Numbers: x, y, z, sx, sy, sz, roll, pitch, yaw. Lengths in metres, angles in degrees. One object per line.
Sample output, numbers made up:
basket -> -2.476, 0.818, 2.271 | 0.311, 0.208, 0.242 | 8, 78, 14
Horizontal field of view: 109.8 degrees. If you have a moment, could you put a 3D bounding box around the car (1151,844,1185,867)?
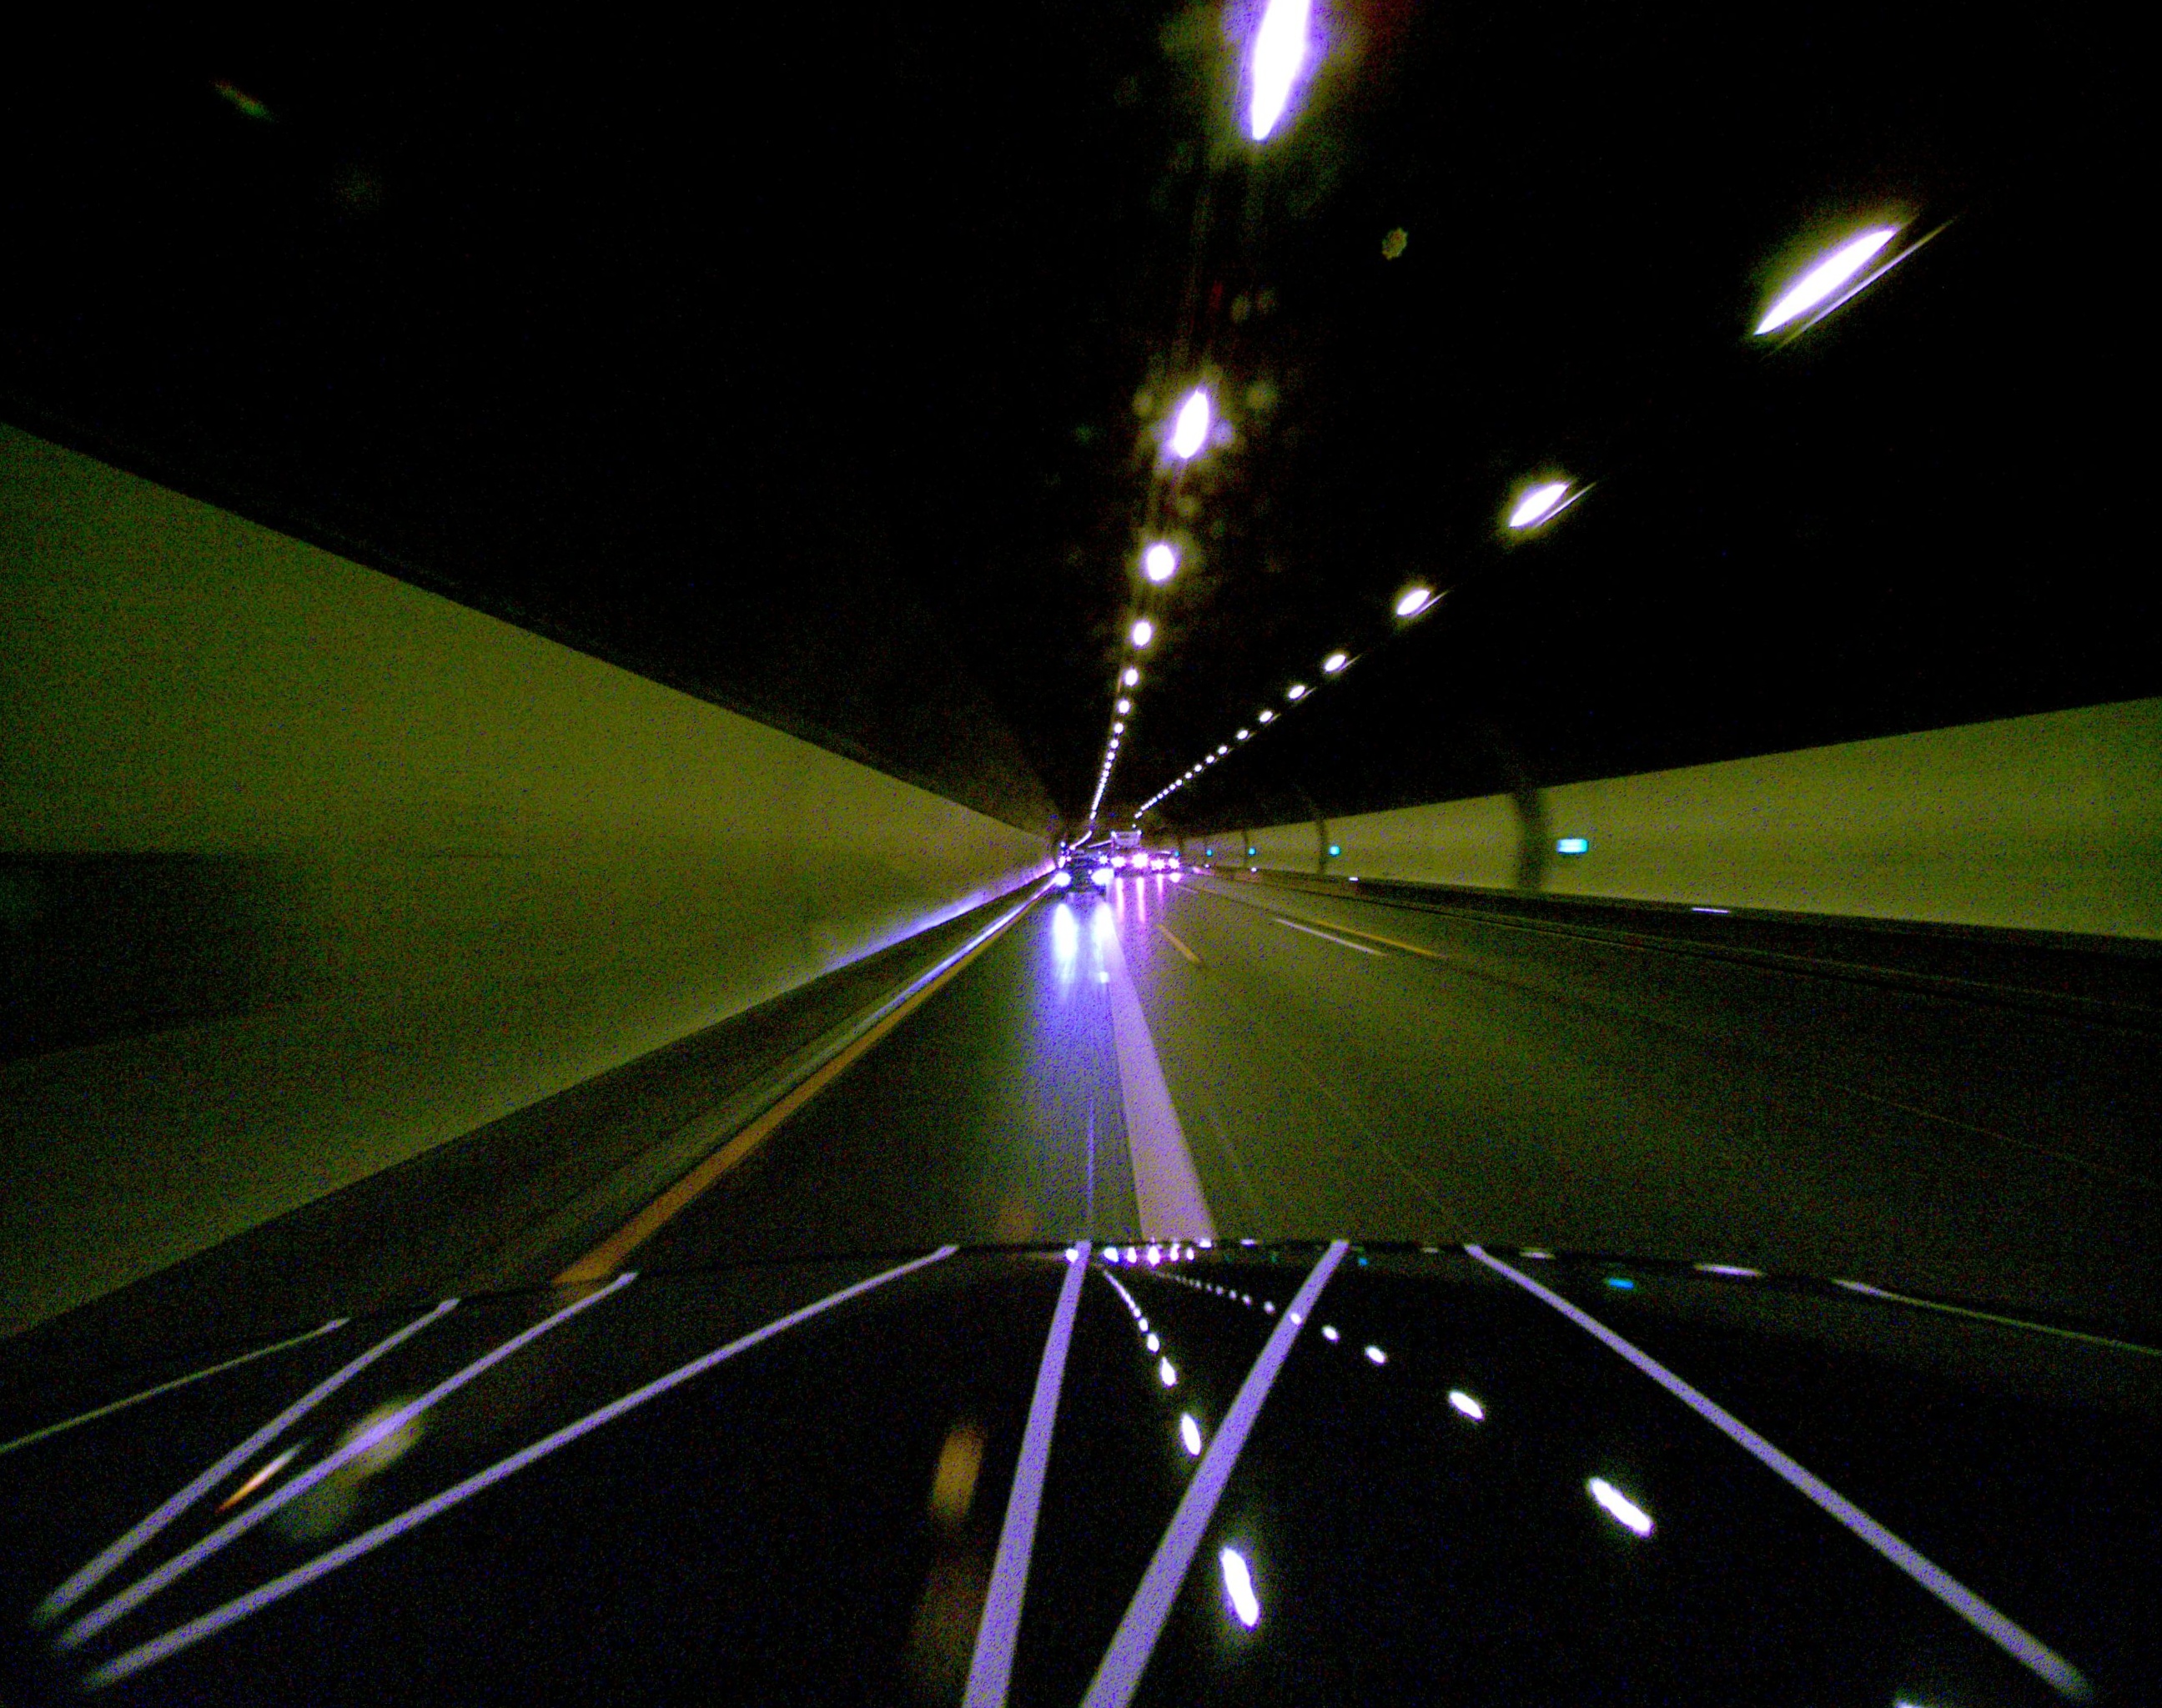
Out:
car -> 6.718, 0.102, 58.889 | 1.998, 1.531, 4.850 | -5, 1, 1

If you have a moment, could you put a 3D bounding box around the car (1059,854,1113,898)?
car -> 0.118, 0.826, 30.830 | 1.826, 1.469, 4.520 | -5, 0, -3

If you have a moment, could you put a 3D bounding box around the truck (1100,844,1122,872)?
truck -> 3.623, 0.390, 92.578 | 2.162, 3.098, 6.029 | -5, 1, 0

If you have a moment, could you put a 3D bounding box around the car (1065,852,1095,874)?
car -> -0.104, 0.680, 59.972 | 1.999, 1.531, 4.740 | -5, 1, -3

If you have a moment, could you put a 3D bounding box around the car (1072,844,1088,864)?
car -> -0.184, -0.017, 115.466 | 1.999, 2.710, 6.272 | -5, 1, -3

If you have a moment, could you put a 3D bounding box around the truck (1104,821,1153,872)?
truck -> 3.428, -0.534, 56.710 | 2.534, 3.314, 7.713 | -4, 0, -3
